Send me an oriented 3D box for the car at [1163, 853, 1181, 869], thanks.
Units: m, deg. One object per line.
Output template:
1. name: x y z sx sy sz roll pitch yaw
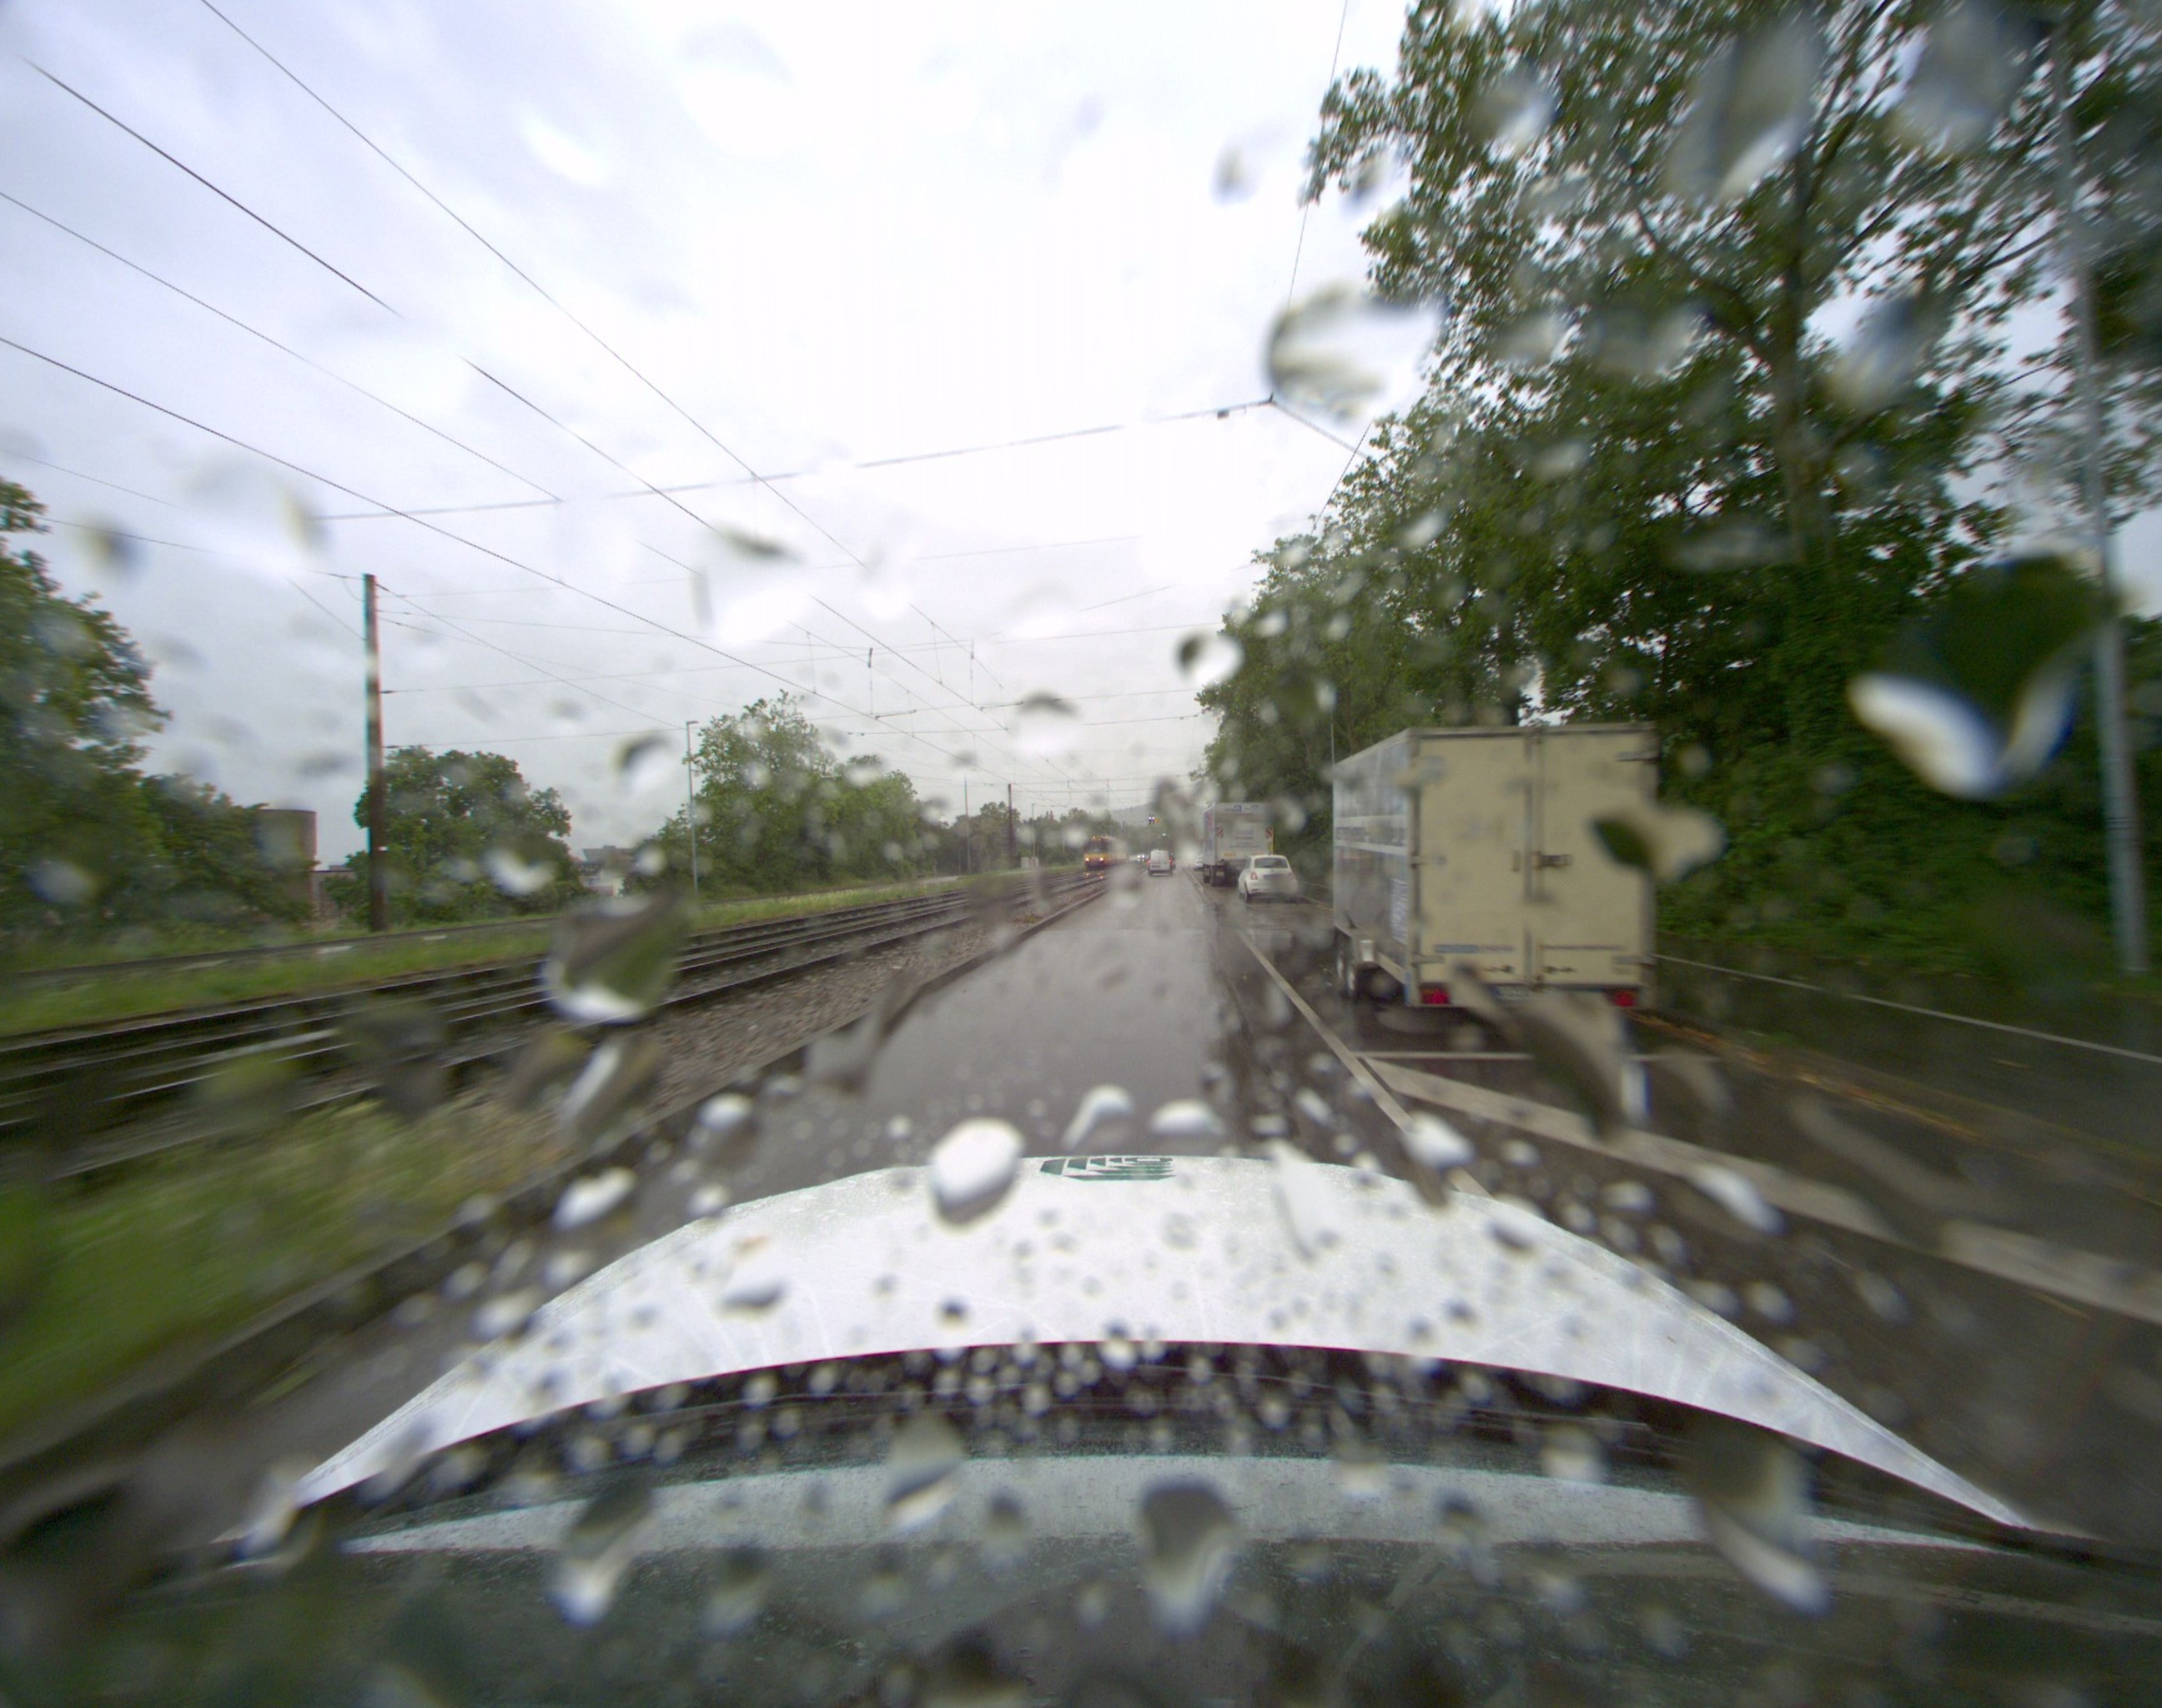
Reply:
1. car: 9.629 0.730 85.868 1.777 1.642 3.975 -1 -1 6

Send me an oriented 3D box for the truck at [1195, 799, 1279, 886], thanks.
1. truck: 7.464 -0.444 40.280 2.764 3.704 9.860 -1 -1 3

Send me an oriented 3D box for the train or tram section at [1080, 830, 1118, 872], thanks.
1. train or tram section: 2.111 -0.307 89.702 2.792 4.149 13.044 -1 0 7

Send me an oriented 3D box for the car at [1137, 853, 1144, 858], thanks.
1. car: 16.863 0.469 230.017 1.810 1.398 4.007 -2 0 6

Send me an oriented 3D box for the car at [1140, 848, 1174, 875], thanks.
1. car: 5.486 0.501 59.083 1.988 1.849 3.997 -1 0 -2

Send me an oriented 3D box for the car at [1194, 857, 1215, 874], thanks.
1. car: 11.577 1.053 76.517 1.810 1.486 4.489 0 0 6

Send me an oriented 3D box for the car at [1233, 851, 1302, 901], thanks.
1. car: 6.142 0.685 27.200 1.705 1.529 4.006 -1 0 5

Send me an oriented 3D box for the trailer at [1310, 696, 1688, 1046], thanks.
1. trailer: 4.124 0.182 9.383 2.153 2.757 5.690 -1 -1 9
